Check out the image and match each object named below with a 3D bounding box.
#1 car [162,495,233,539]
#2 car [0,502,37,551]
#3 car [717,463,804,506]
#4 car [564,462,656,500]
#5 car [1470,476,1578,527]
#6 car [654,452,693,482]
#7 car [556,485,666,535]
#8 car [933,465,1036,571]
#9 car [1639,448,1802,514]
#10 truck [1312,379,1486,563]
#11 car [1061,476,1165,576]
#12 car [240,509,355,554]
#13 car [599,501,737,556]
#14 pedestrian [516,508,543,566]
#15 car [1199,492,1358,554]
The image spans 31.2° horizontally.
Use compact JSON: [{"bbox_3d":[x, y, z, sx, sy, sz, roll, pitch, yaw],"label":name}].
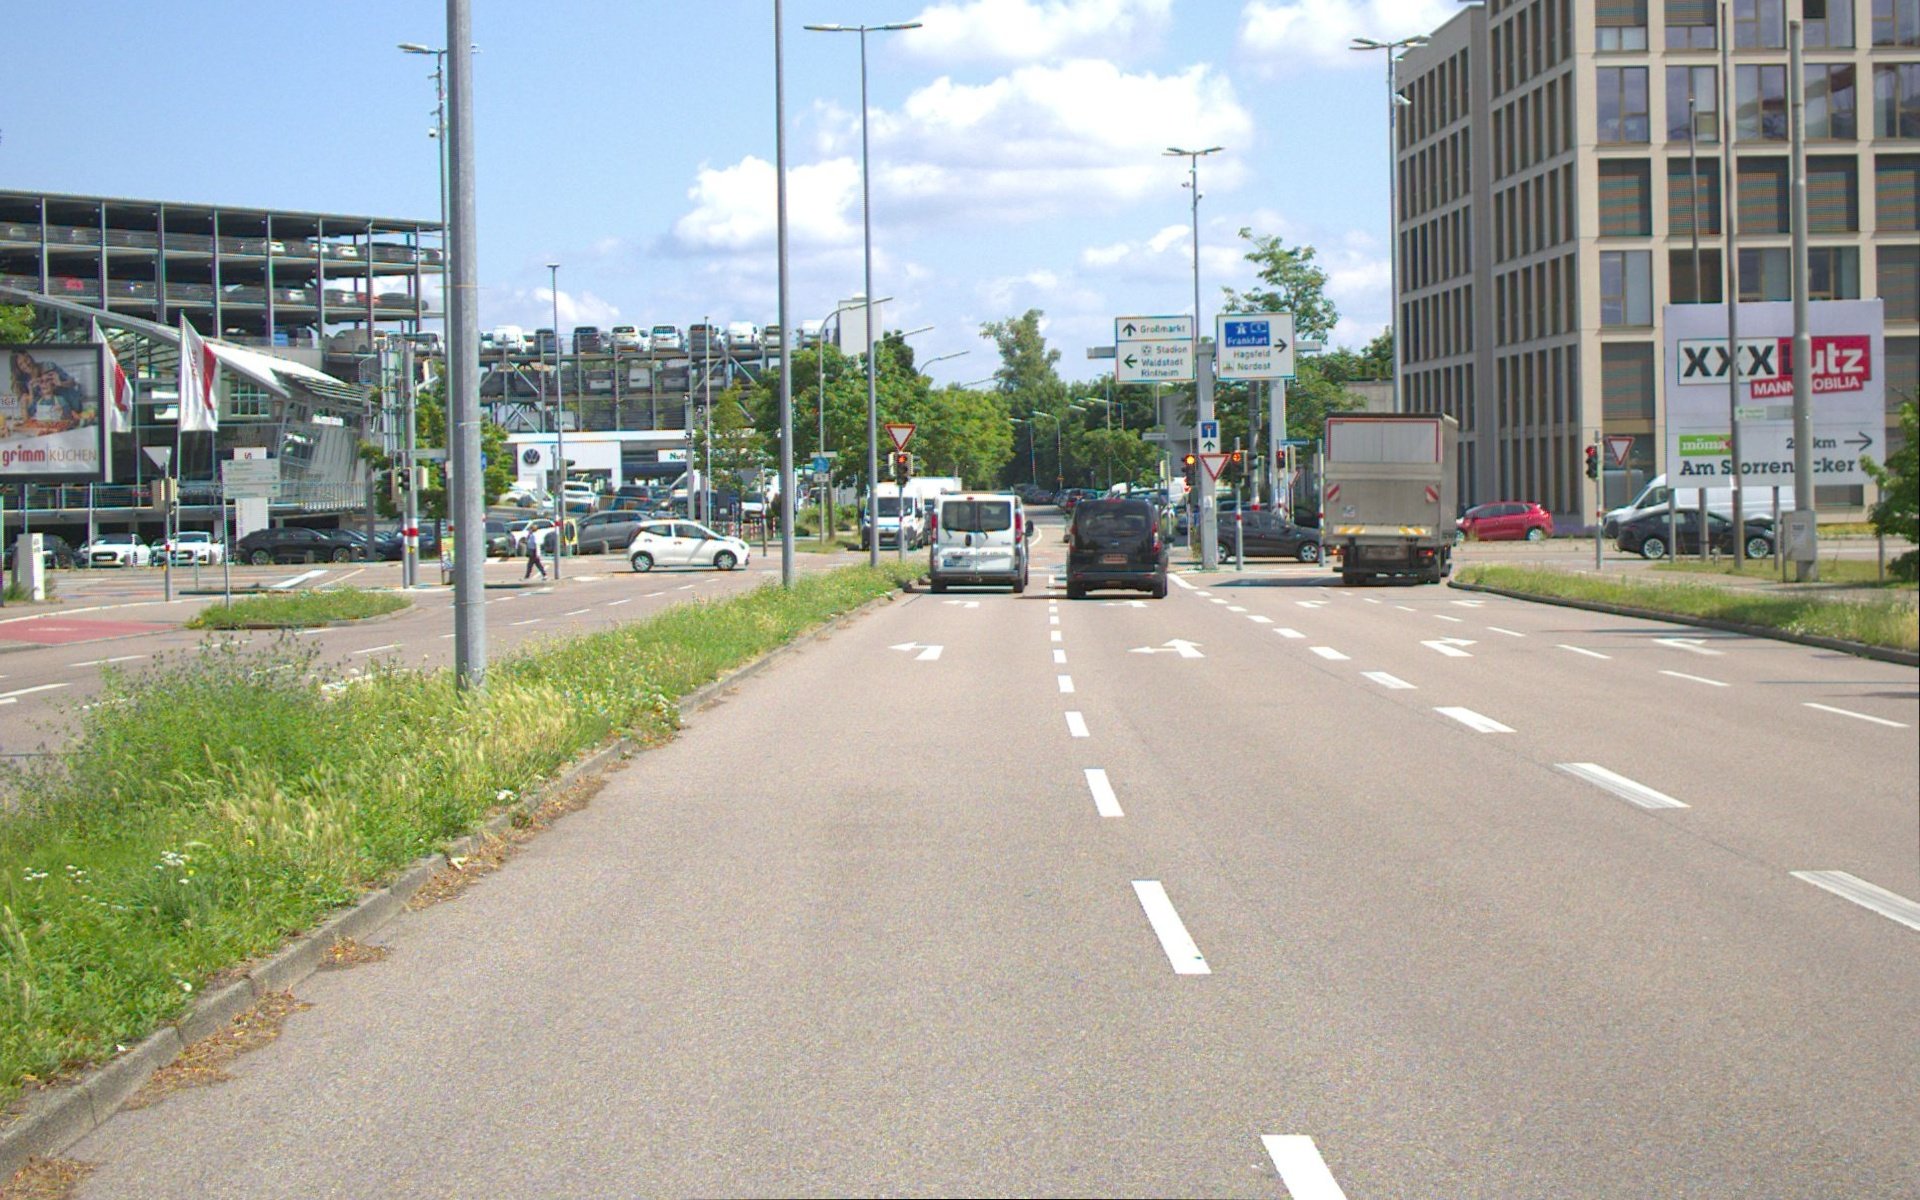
[{"bbox_3d":[-27.190,-2.965,122.669,1.776,1.445,4.030,-1,3,-2],"label":"car"},{"bbox_3d":[-34.011,-2.599,121.857,1.756,1.654,3.618,-1,3,-3],"label":"car"},{"bbox_3d":[-9.249,-5.351,159.246,3.986,1.919,1.827,-1,2,-5],"label":"car"},{"bbox_3d":[-16.133,-5.496,158.737,4.164,1.707,1.689,0,3,-4],"label":"car"},{"bbox_3d":[18.481,-3.233,112.655,3.272,1.400,1.334,-1,11,-1],"label":"car"},{"bbox_3d":[-14.985,-6.994,179.983,1.846,1.524,4.001,-1,3,-3],"label":"car"},{"bbox_3d":[-12.974,-3.365,127.966,3.861,1.633,1.858,-3,3,-2],"label":"car"},{"bbox_3d":[0.532,-1.683,69.137,1.856,2.011,4.000,0,3,3],"label":"car"},{"bbox_3d":[26.676,-4.177,120.760,5.499,2.247,1.999,0,3,11],"label":"car"},{"bbox_3d":[10.100,-2.974,78.300,3.131,3.926,8.854,0,3,13],"label":"truck"},{"bbox_3d":[2.889,-1.414,64.145,1.820,1.802,4.000,0,2,4],"label":"car"},{"bbox_3d":[-23.526,-2.429,122.143,3.791,1.507,1.679,-1,3,-3],"label":"car"},{"bbox_3d":[-8.268,-2.035,97.649,3.850,1.461,1.696,-1,3,-4],"label":"car"},{"bbox_3d":[-11.172,-1.643,89.199,0.470,1.507,0.511,0,2,27],"label":"pedestrian"},{"bbox_3d":[8.819,-2.123,94.984,4.147,1.498,1.626,-2,3,13],"label":"car"}]
